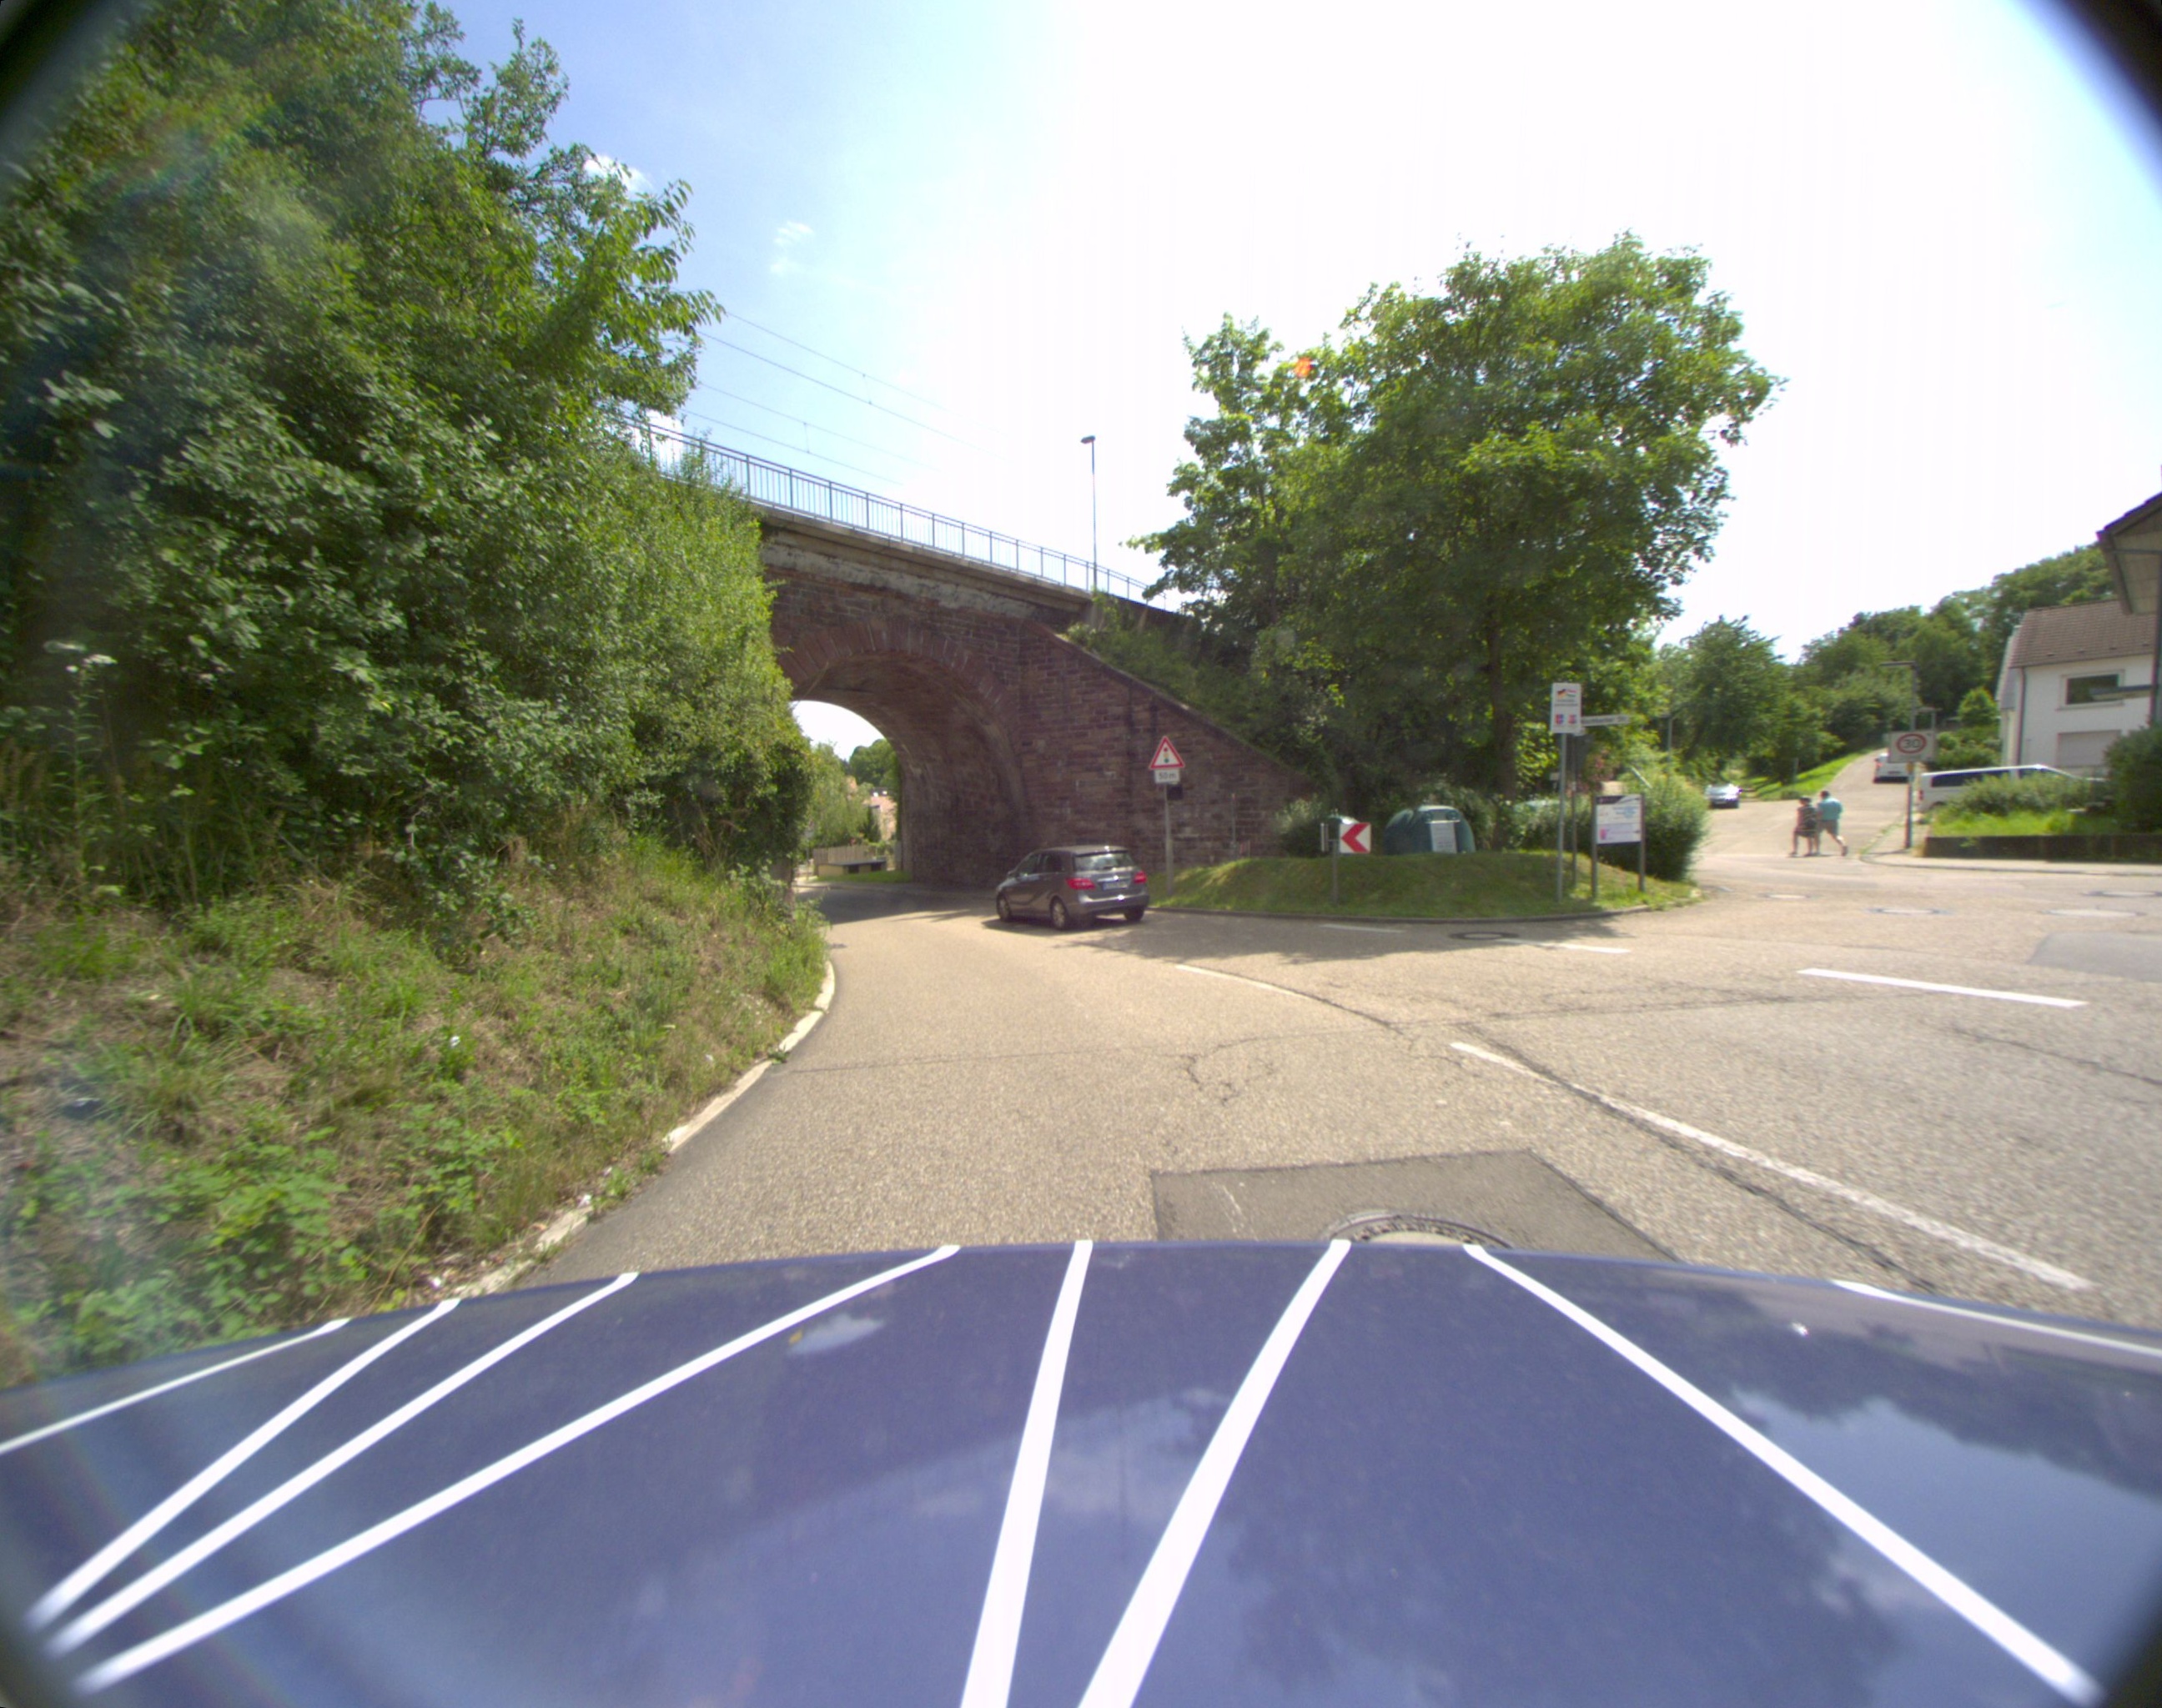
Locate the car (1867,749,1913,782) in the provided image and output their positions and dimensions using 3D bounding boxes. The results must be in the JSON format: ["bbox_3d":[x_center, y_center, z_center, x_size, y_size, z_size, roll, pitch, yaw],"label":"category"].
[{"bbox_3d":[59.776,-6.509,56.221,1.995,2.002,4.720,-2,1,44],"label":"car"}]

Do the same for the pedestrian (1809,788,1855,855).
[{"bbox_3d":[19.848,-0.856,20.103,0.685,1.703,0.791,-3,2,34],"label":"pedestrian"}]

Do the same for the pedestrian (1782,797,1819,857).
[{"bbox_3d":[19.060,-0.725,20.141,0.573,1.546,0.600,-3,2,34],"label":"pedestrian"}]

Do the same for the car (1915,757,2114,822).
[{"bbox_3d":[35.642,-2.408,29.179,2.003,2.002,4.700,-4,1,-37],"label":"car"}]

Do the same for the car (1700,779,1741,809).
[{"bbox_3d":[40.166,-3.744,47.748,1.851,1.633,4.400,-2,1,40],"label":"car"}]

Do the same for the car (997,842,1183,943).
[{"bbox_3d":[0.005,0.706,14.874,1.726,1.547,4.120,-6,1,-28],"label":"car"}]
